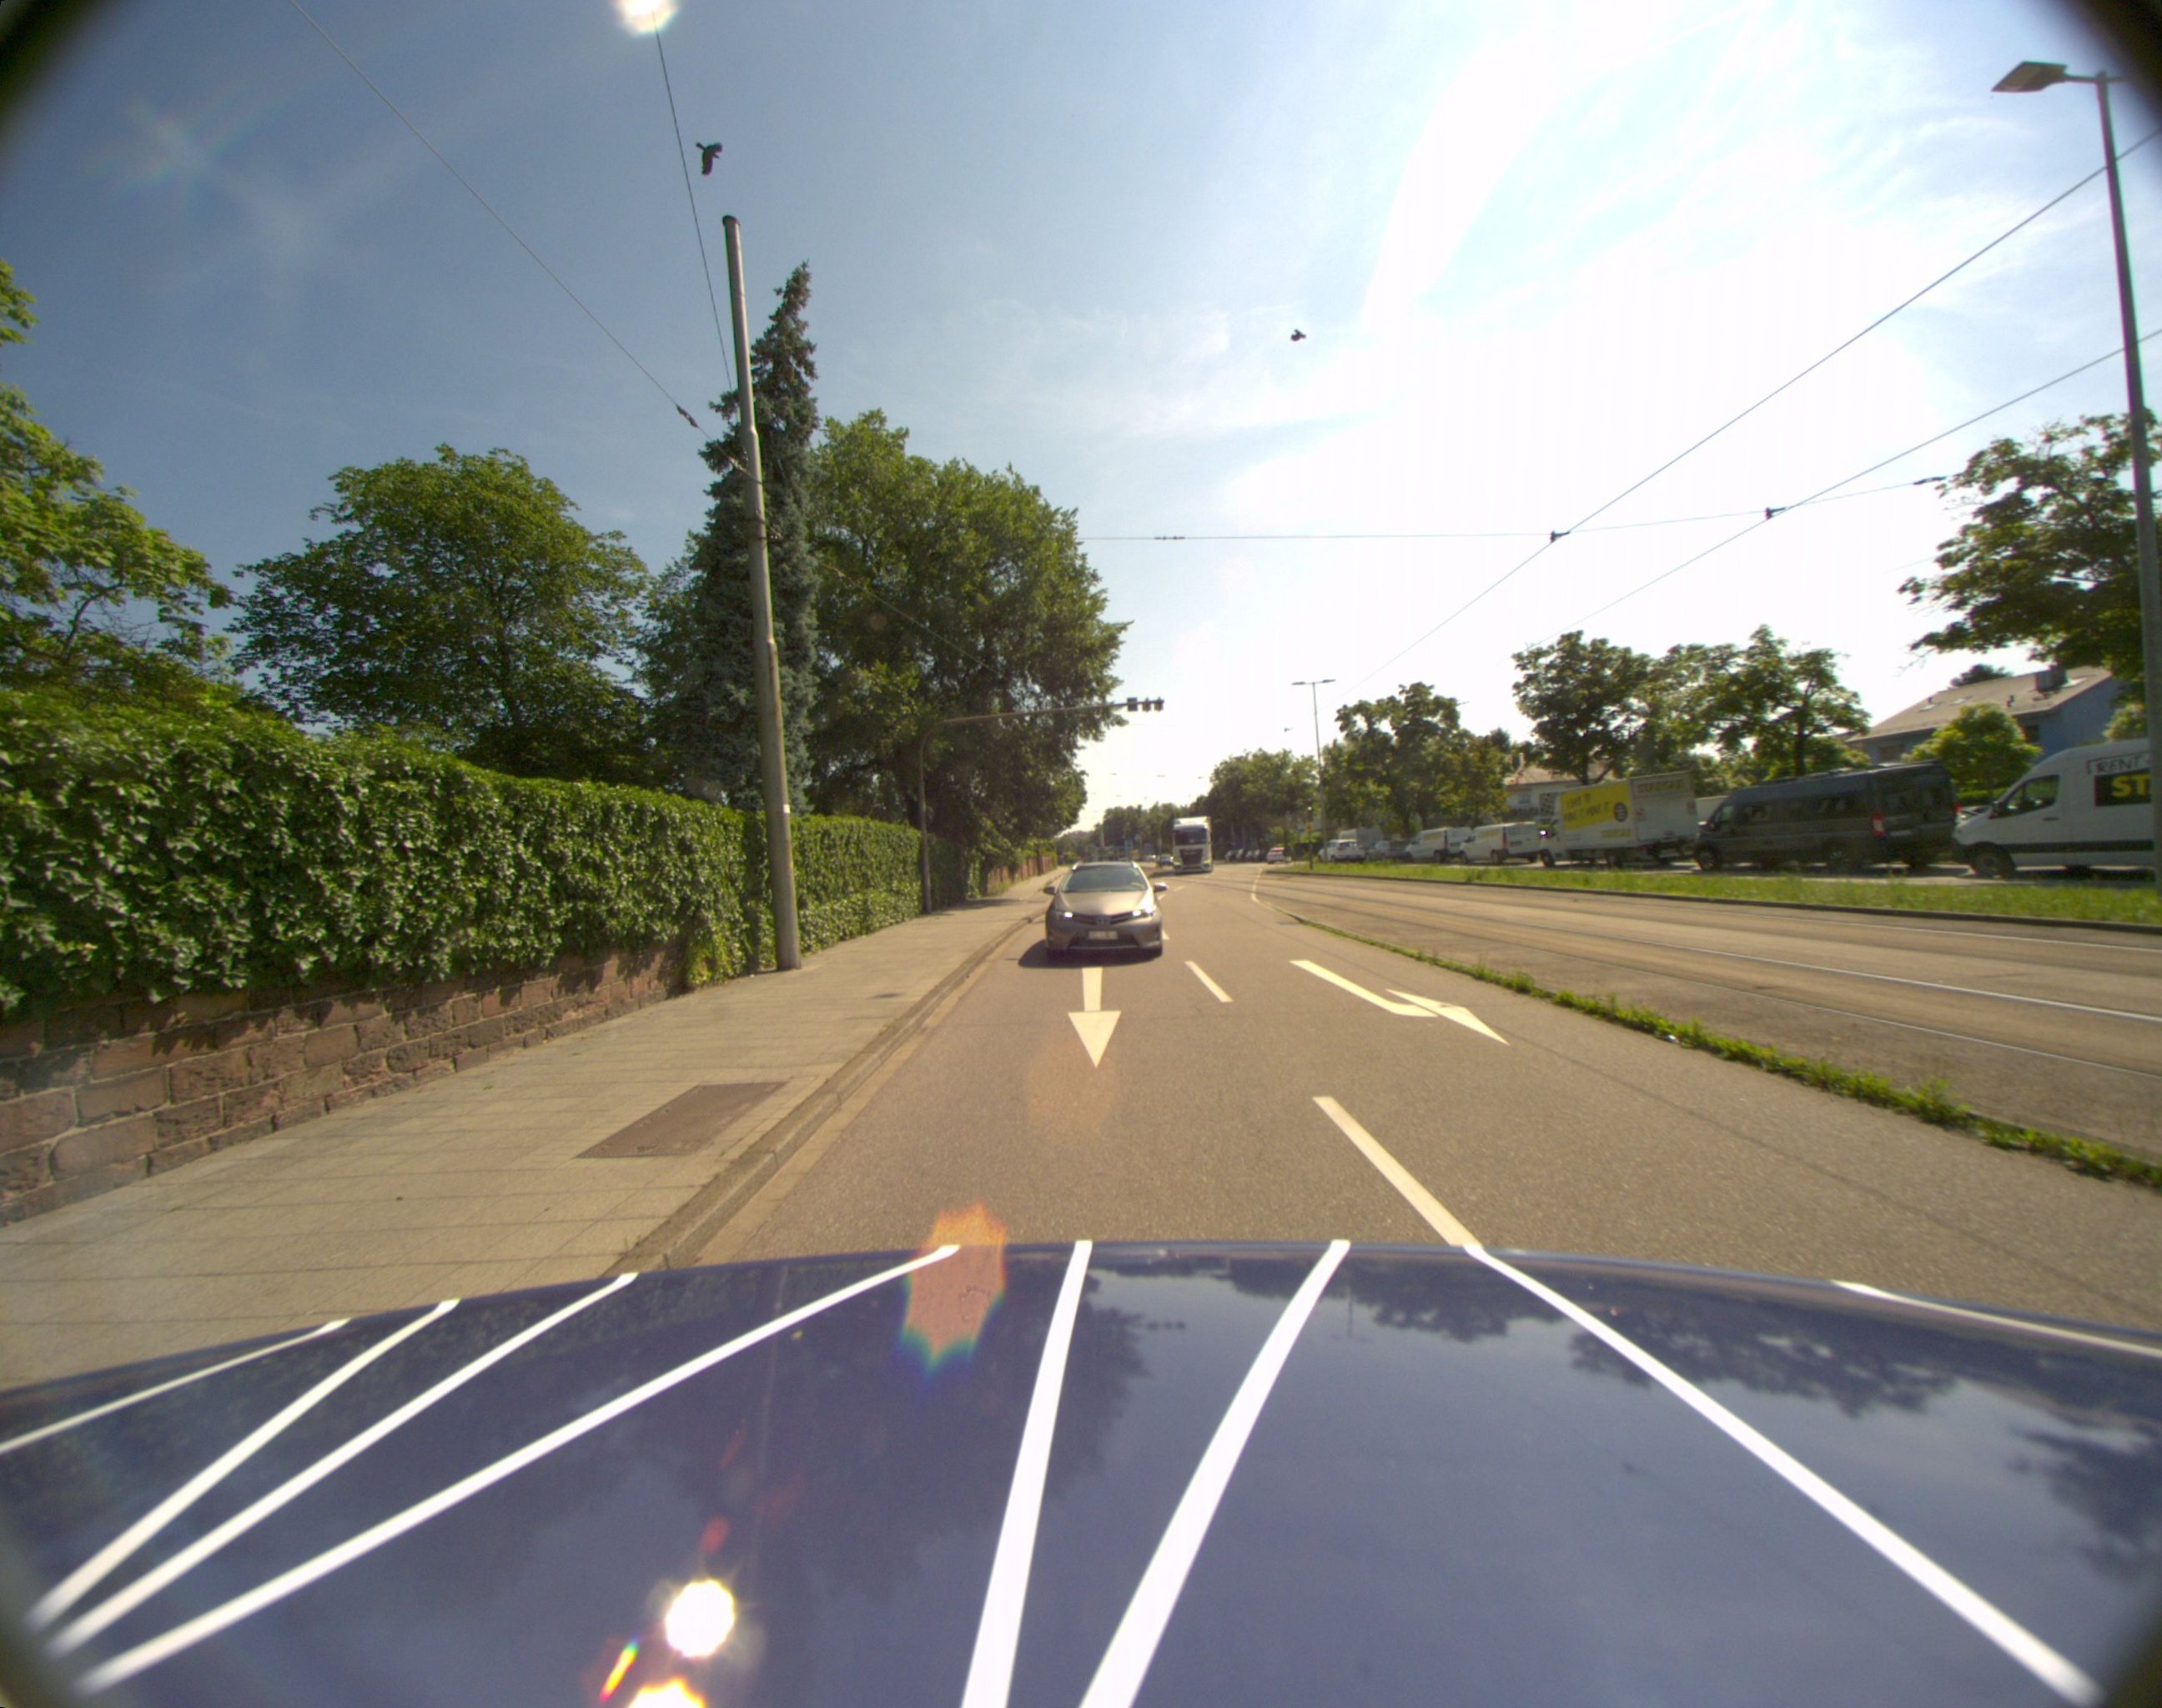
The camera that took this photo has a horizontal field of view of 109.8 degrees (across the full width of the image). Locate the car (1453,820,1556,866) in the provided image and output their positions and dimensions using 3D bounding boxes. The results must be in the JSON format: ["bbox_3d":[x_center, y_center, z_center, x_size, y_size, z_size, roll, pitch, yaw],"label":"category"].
[{"bbox_3d":[20.819,-0.498,37.696,2.201,1.929,5.185,-6,0,2],"label":"car"}]

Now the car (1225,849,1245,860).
[{"bbox_3d":[21.001,0.124,103.958,1.679,1.427,4.457,-3,0,-1],"label":"car"}]

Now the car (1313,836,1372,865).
[{"bbox_3d":[15.965,-0.201,46.639,2.048,1.588,4.660,-2,0,1],"label":"car"}]

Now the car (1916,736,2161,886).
[{"bbox_3d":[20.029,-0.847,14.160,2.201,2.615,5.979,-6,0,1],"label":"car"}]

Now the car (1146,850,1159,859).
[{"bbox_3d":[15.435,0.200,163.874,1.999,1.805,3.998,-4,0,-5],"label":"car"}]

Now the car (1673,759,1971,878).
[{"bbox_3d":[20.124,-0.835,21.245,2.201,2.653,6.079,-5,0,0],"label":"car"}]

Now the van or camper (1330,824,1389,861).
[{"bbox_3d":[20.921,-0.788,57.342,2.262,2.500,6.148,-3,0,2],"label":"van or camper"}]

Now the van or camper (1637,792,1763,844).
[{"bbox_3d":[44.813,-2.548,55.165,6.968,3.225,2.582,-4,0,-1],"label":"van or camper"}]

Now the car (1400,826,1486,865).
[{"bbox_3d":[21.022,-0.439,44.395,2.202,1.929,5.183,-5,0,-3],"label":"car"}]

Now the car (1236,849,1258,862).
[{"bbox_3d":[21.037,0.186,96.446,1.679,1.603,4.242,-3,0,-1],"label":"car"}]

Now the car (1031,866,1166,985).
[{"bbox_3d":[0.427,0.976,11.975,1.719,1.439,4.032,-2,0,6],"label":"car"}]

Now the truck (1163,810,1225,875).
[{"bbox_3d":[8.337,-0.839,58.055,3.390,4.045,14.290,-6,0,5],"label":"truck"}]

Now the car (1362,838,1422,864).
[{"bbox_3d":[20.599,-0.180,50.596,1.937,1.446,4.886,-5,0,0],"label":"car"}]

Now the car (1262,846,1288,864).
[{"bbox_3d":[17.307,0.099,67.932,1.795,1.414,4.339,-4,0,10],"label":"car"}]

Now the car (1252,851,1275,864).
[{"bbox_3d":[20.795,0.400,86.717,1.619,1.442,4.083,-3,0,2],"label":"car"}]

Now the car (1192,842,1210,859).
[{"bbox_3d":[21.229,-0.642,134.946,2.016,2.636,6.086,-7,0,1],"label":"car"}]

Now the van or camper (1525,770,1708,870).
[{"bbox_3d":[20.250,-1.152,29.331,2.201,3.222,6.773,-5,0,2],"label":"van or camper"}]

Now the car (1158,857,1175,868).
[{"bbox_3d":[10.597,1.063,94.396,1.700,1.248,4.000,-4,0,1],"label":"car"}]

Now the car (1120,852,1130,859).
[{"bbox_3d":[11.921,0.510,205.308,1.999,1.783,3.998,-4,0,-5],"label":"car"}]
